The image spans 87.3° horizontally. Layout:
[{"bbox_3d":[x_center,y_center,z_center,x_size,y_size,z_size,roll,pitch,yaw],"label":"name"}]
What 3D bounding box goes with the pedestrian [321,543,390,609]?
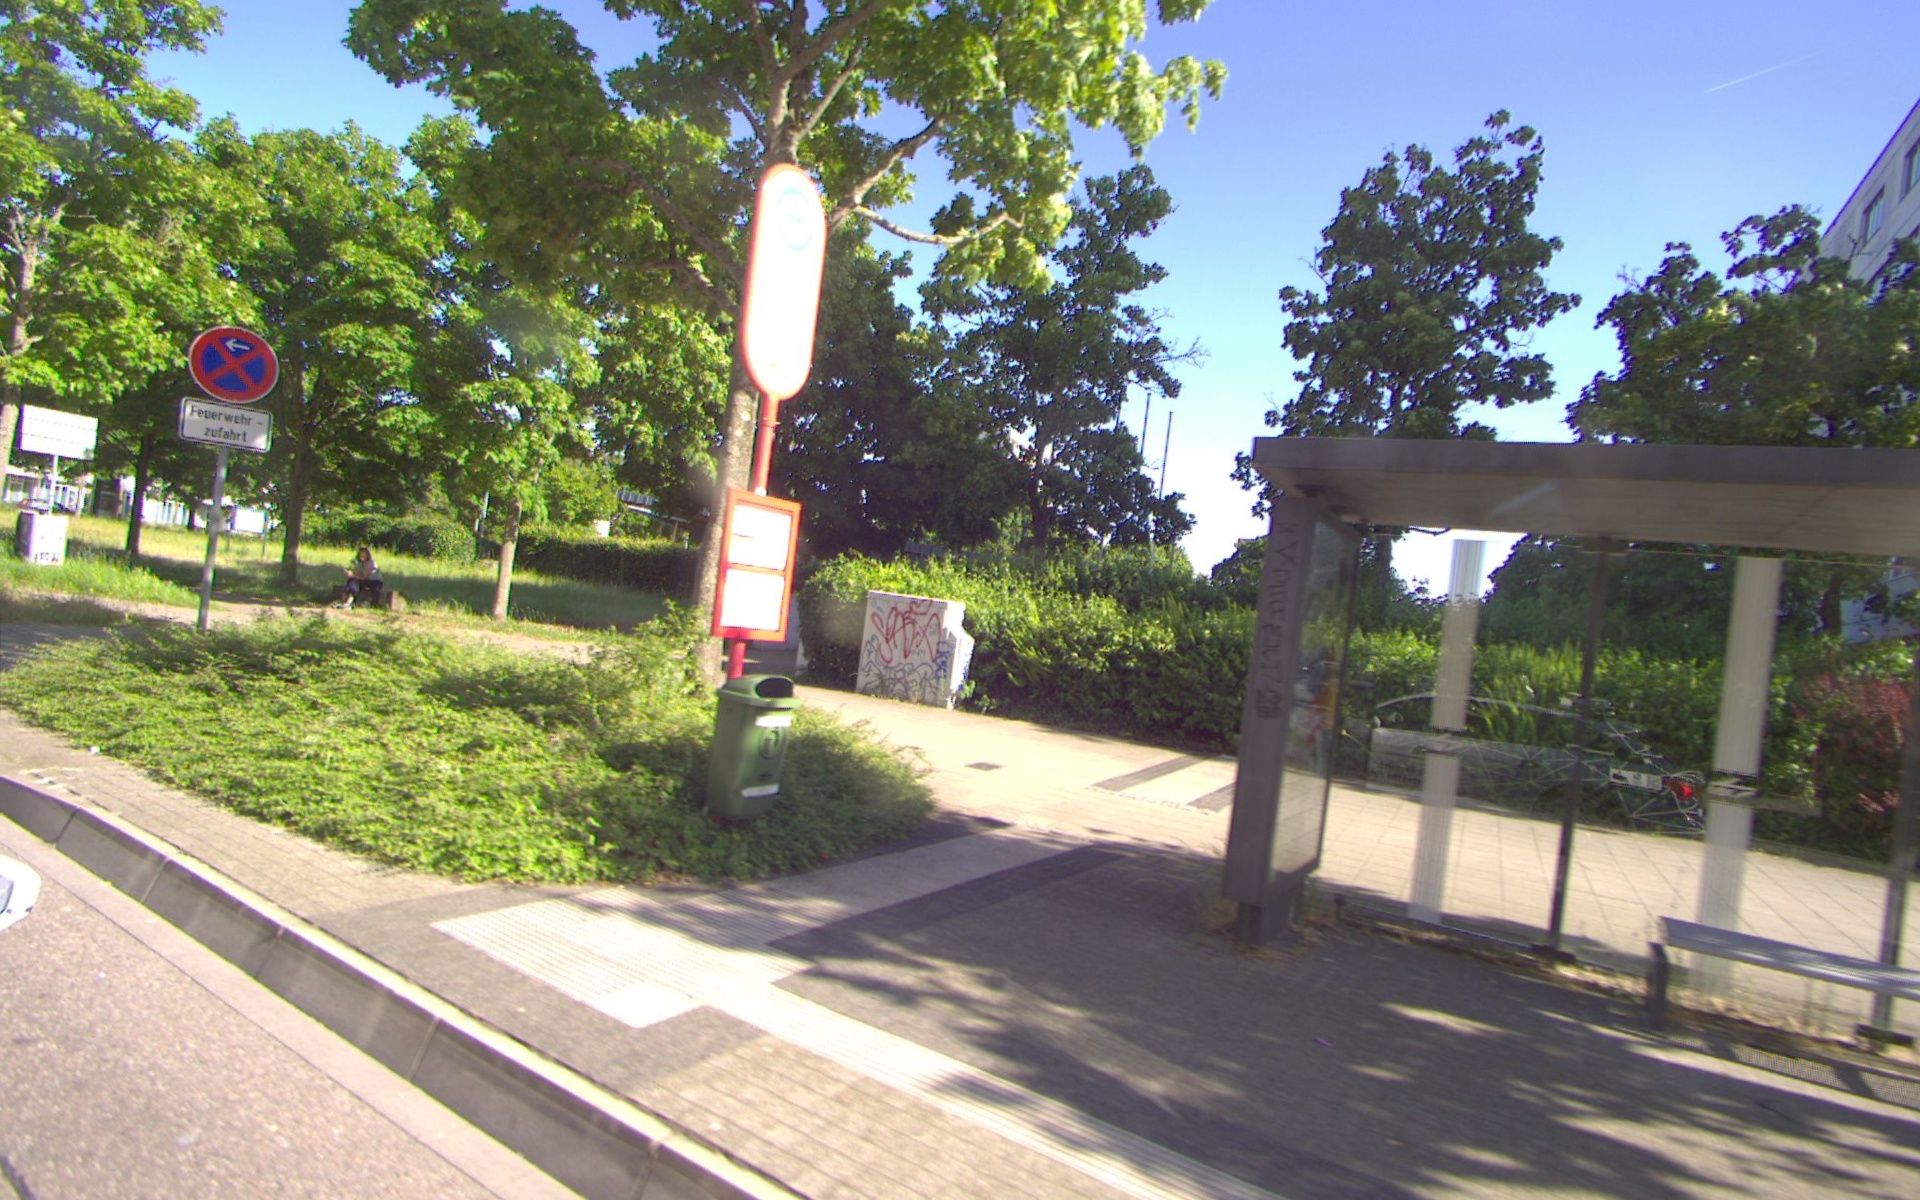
[{"bbox_3d":[-12.301,-0.477,20.493,0.715,1.232,0.847,7,1,16],"label":"pedestrian"}]
